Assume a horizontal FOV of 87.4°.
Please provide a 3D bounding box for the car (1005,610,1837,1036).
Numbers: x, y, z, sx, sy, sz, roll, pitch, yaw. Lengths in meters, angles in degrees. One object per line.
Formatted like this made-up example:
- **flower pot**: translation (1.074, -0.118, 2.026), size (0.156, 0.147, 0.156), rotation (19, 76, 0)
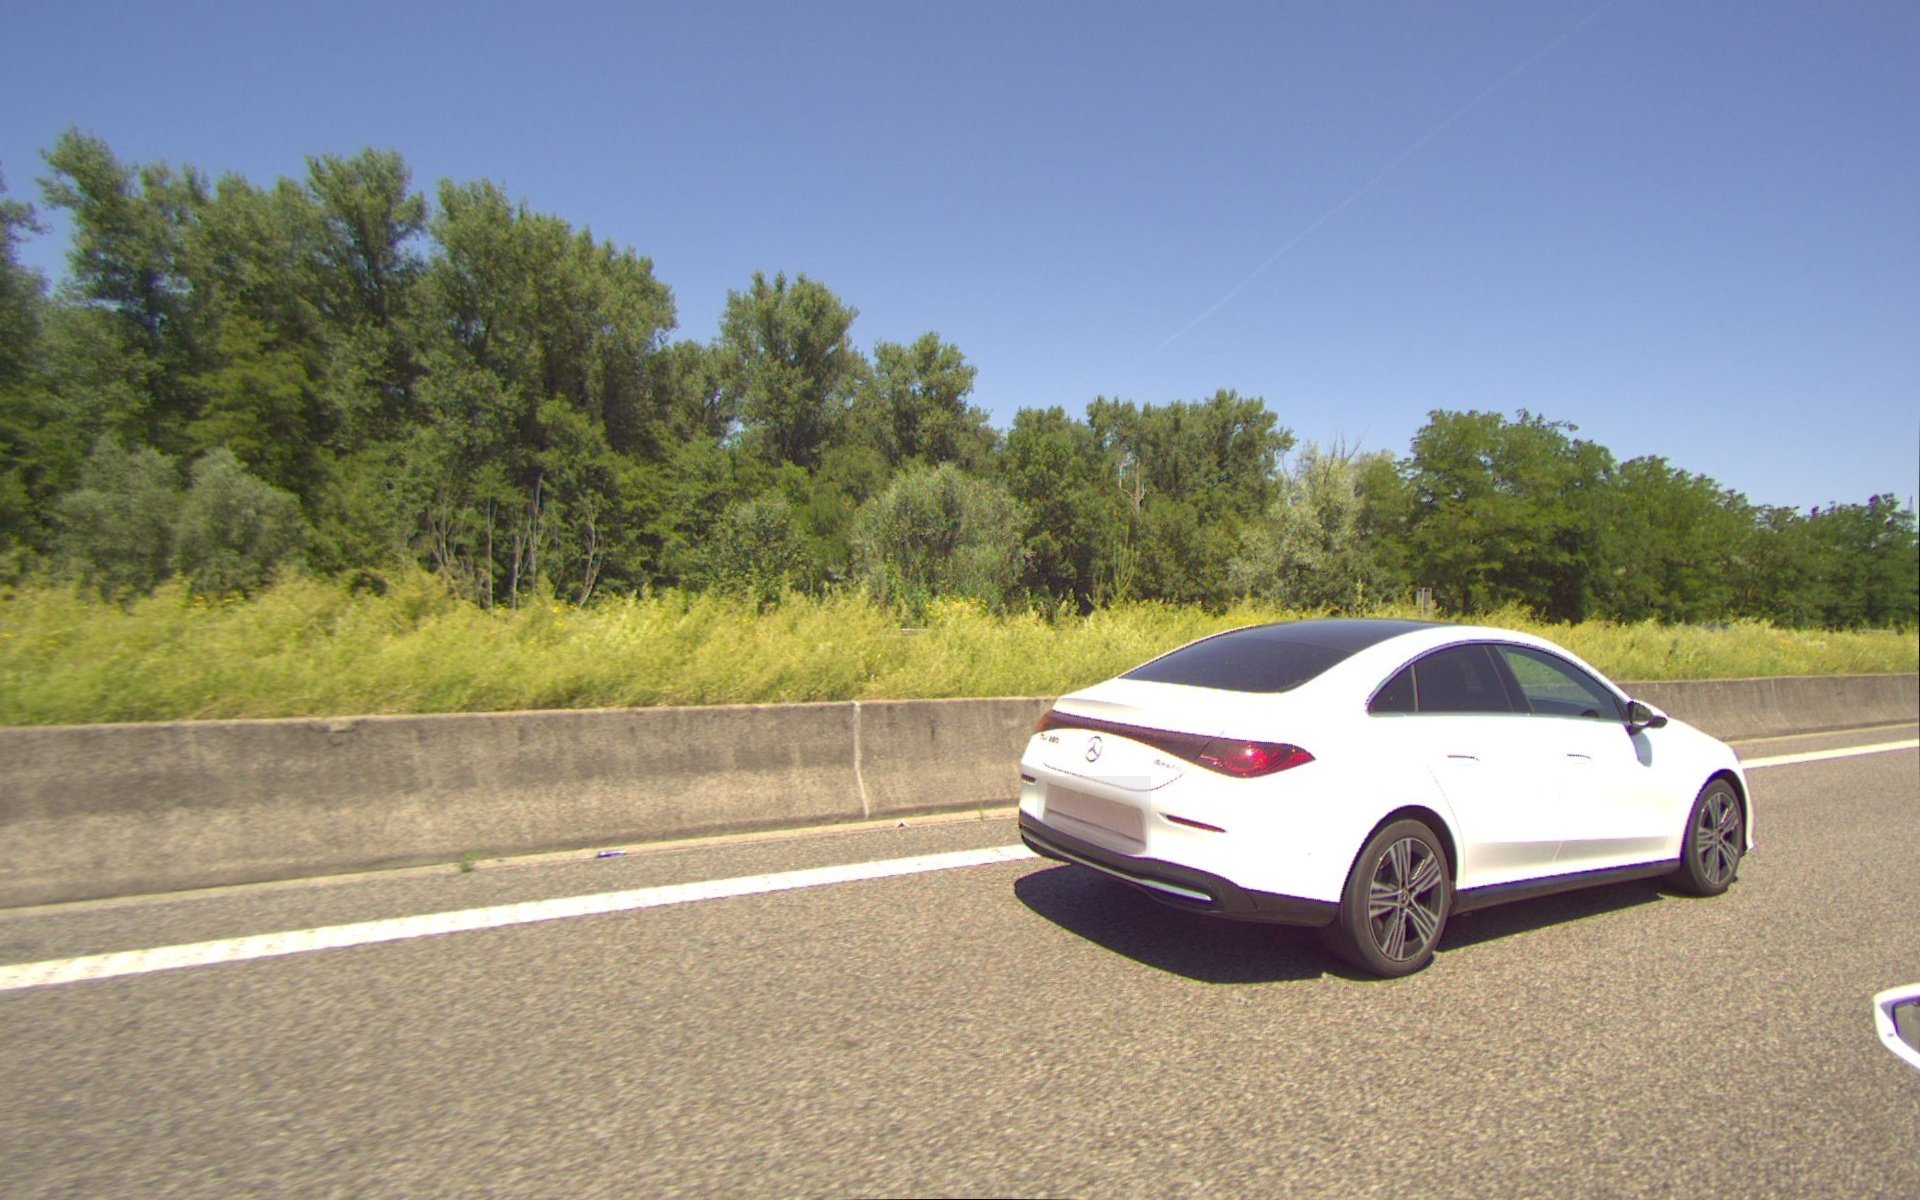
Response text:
- **car**: translation (2.846, 0.836, 5.723), size (5.049, 1.468, 1.757), rotation (0, 2, -31)
